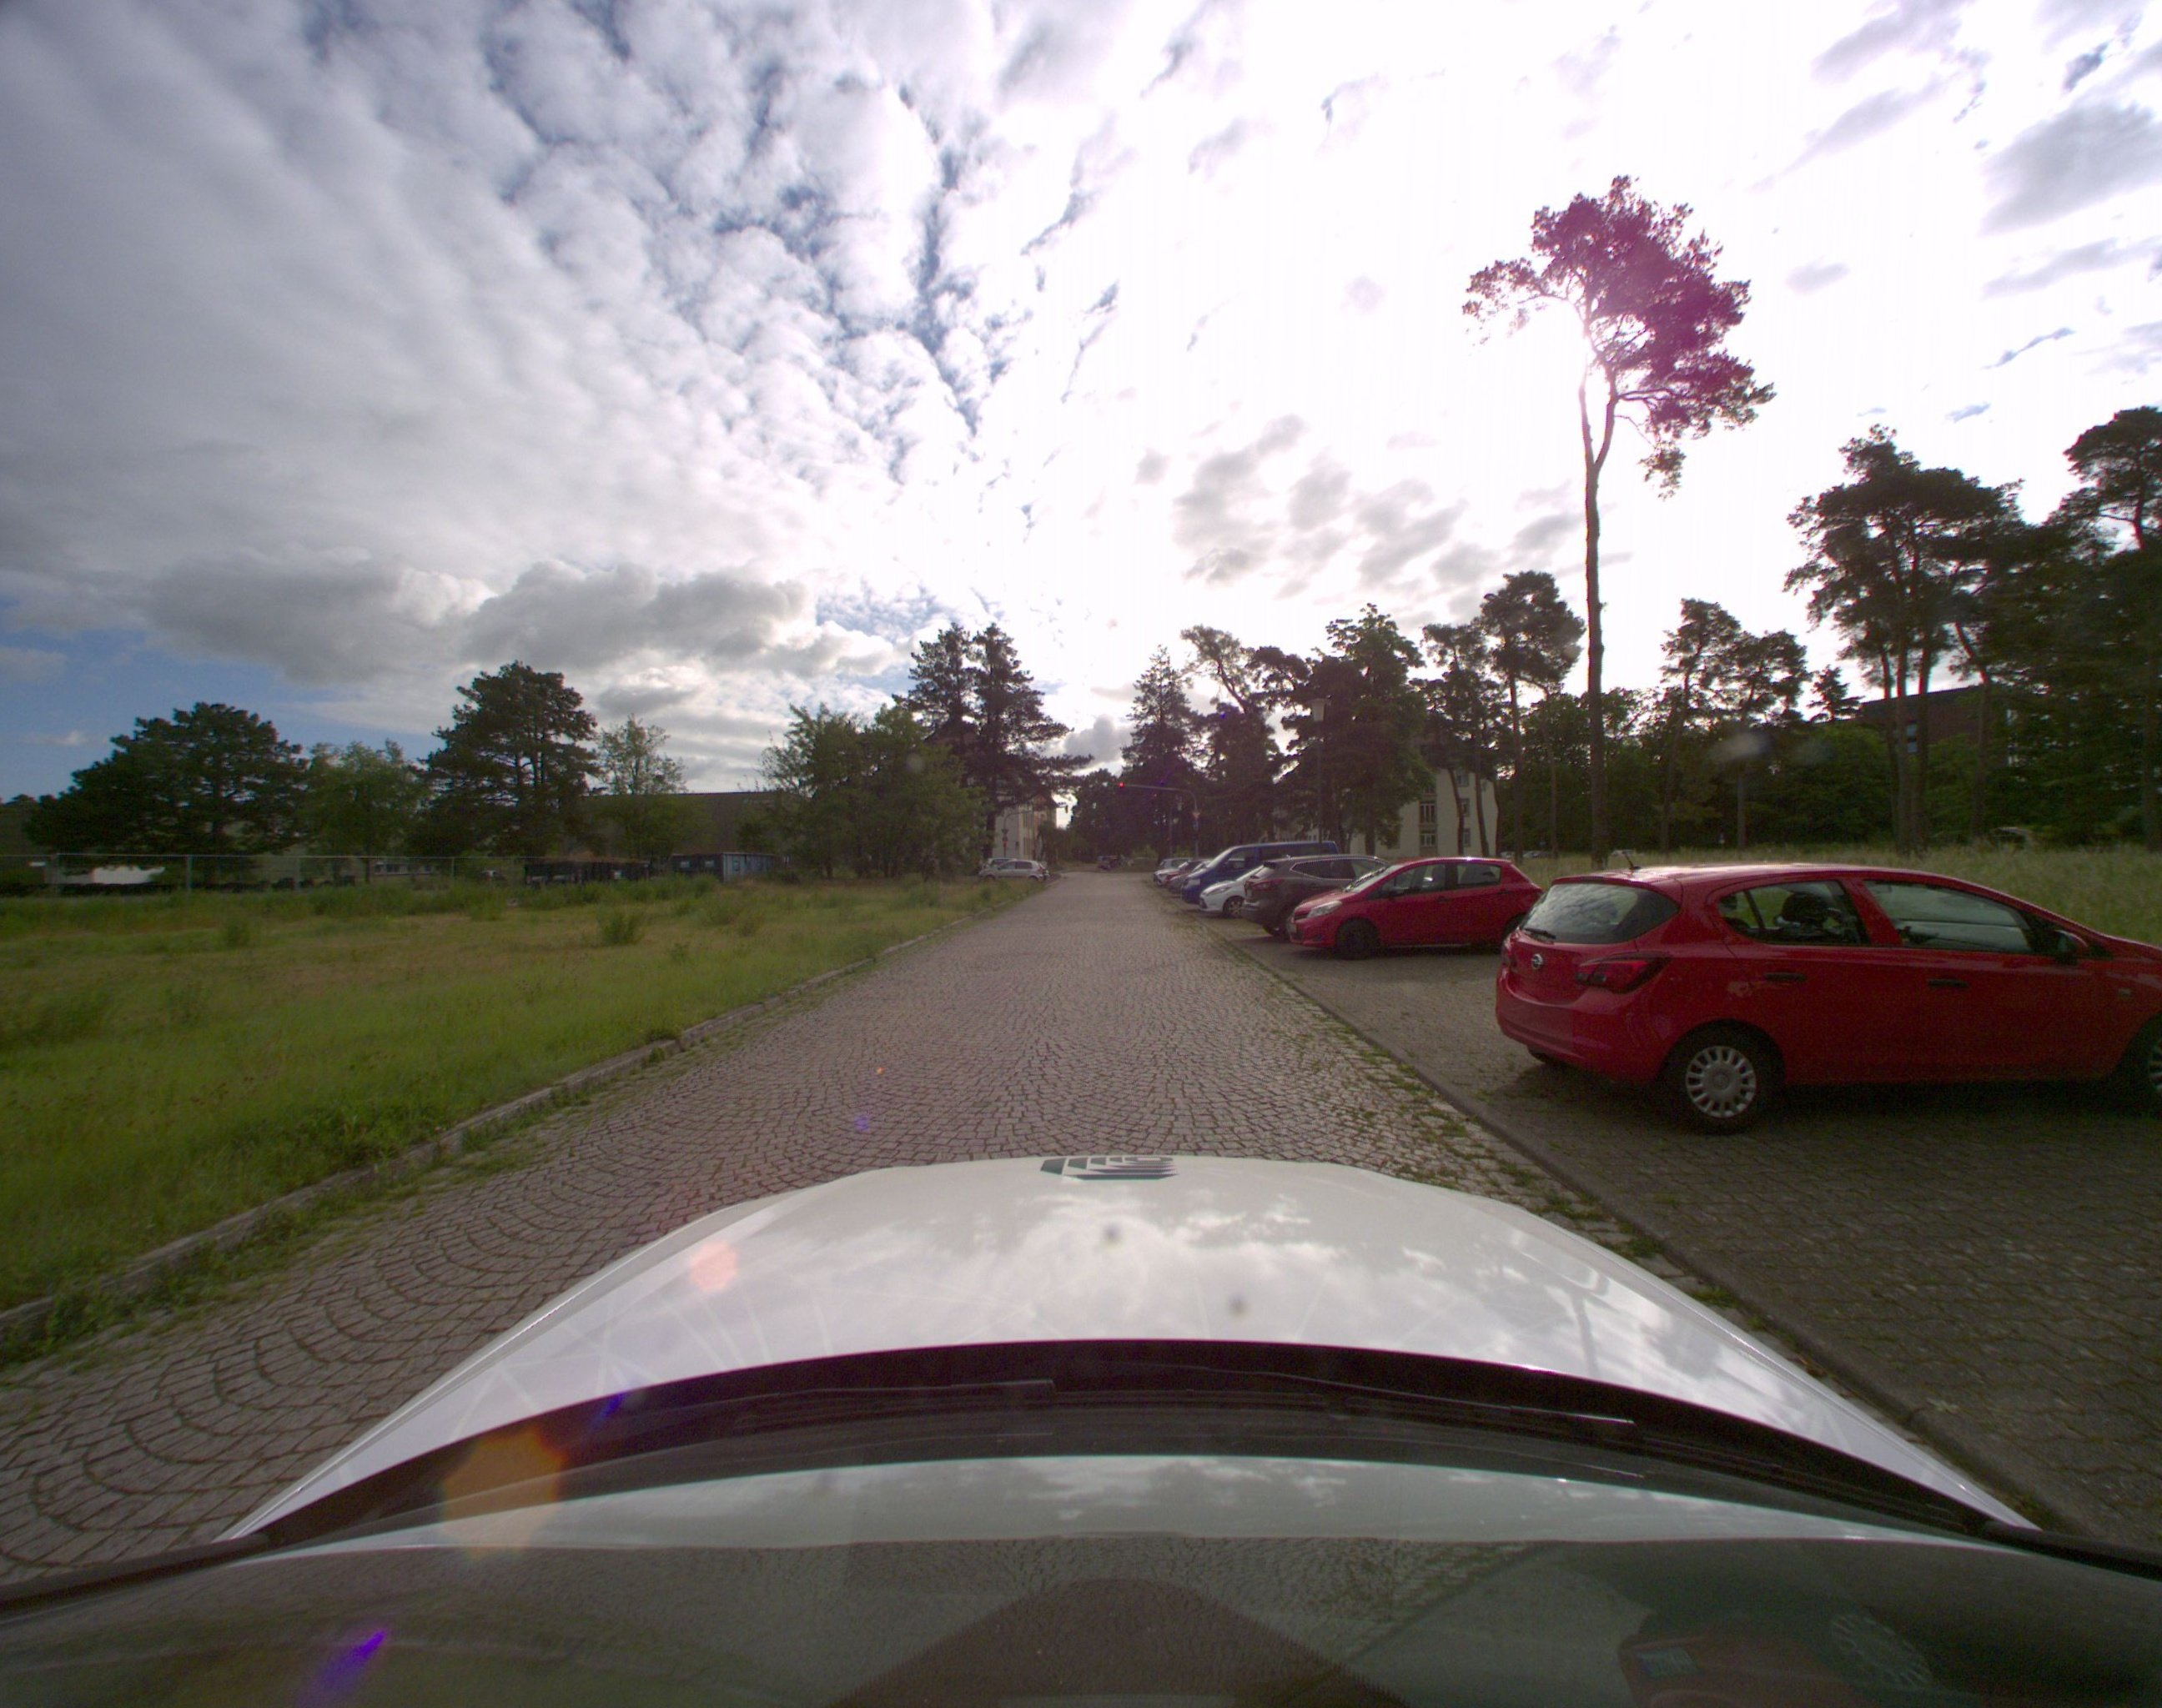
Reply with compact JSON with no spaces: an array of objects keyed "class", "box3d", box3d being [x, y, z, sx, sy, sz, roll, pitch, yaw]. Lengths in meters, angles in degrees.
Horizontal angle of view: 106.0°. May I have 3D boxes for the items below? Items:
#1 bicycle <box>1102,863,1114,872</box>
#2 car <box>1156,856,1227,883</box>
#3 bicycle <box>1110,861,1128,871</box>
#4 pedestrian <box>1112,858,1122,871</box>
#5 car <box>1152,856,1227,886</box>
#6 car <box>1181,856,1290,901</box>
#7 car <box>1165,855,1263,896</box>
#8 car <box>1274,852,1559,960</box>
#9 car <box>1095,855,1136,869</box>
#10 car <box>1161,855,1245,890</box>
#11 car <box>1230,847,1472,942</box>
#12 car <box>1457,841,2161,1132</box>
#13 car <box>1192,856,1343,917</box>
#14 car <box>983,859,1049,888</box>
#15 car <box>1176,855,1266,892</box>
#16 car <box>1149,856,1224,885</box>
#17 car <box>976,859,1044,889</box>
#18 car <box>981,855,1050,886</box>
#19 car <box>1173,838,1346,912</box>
[{"class":"bicycle","box3d":[3.074,1.527,93.319,0.623,0.945,1.649,0,-1,-26]},{"class":"car","box3d":[6.538,0.905,48.357,3.958,1.421,1.618,-2,-1,-3]},{"class":"bicycle","box3d":[4.511,1.449,97.359,2.132,1.215,0.621,0,-1,-3]},{"class":"pedestrian","box3d":[4.321,1.248,97.709,1.031,1.614,0.757,0,-1,-3]},{"class":"car","box3d":[5.699,0.894,42.867,3.663,1.421,1.522,-2,-1,-3]},{"class":"car","box3d":[5.617,0.871,29.849,3.660,1.449,1.523,-2,-1,-1]},{"class":"car","box3d":[5.288,0.864,32.638,3.660,1.449,1.523,-2,-1,-1]},{"class":"car","box3d":[5.169,0.780,12.942,3.778,1.460,1.752,-2,-1,1]},{"class":"car","box3d":[4.879,1.154,115.276,5.441,2.014,2.263,0,-1,-8]},{"class":"car","box3d":[5.699,0.859,38.327,3.660,1.449,1.523,-2,-1,-1]},{"class":"car","box3d":[5.057,0.741,15.606,4.017,1.552,1.750,-2,-1,-1]},{"class":"car","box3d":[4.807,0.732,5.364,3.812,1.460,1.779,-2,-1,1]},{"class":"car","box3d":[4.971,0.854,21.988,3.661,1.449,1.614,-2,-1,-1]},{"class":"car","box3d":[-3.966,1.191,49.940,3.808,1.572,1.565,-2,-1,1]},{"class":"car","box3d":[6.086,0.854,35.610,3.660,1.449,1.523,-2,-1,-1]},{"class":"car","box3d":[5.881,0.916,45.720,3.958,1.421,1.618,-2,-1,-3]},{"class":"car","box3d":[-4.090,1.138,47.525,3.811,1.572,1.563,-2,-1,-2]},{"class":"car","box3d":[-4.216,1.056,52.937,4.247,1.840,1.744,-2,-1,1]},{"class":"car","box3d":[5.298,0.613,24.577,4.739,1.954,1.931,-2,-1,-1]}]
